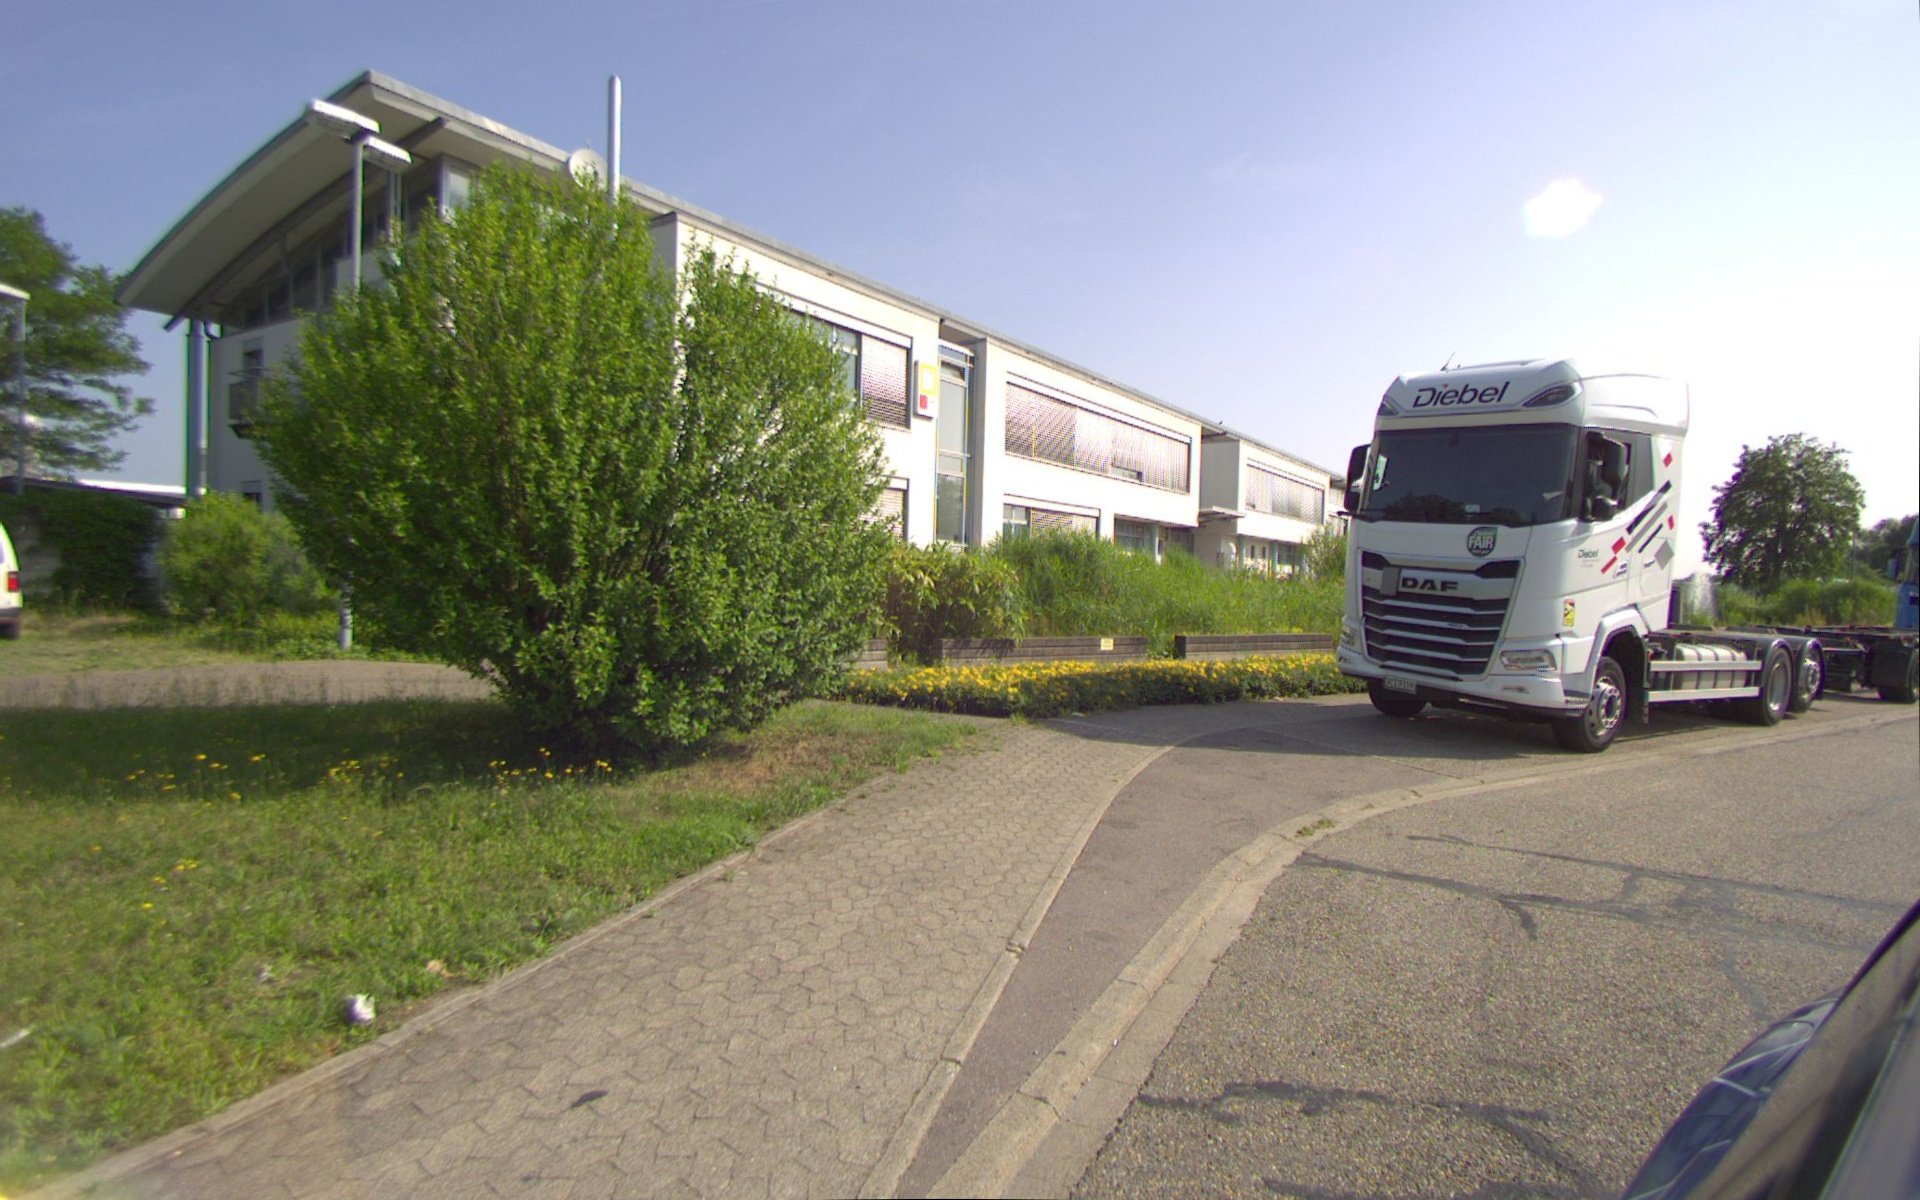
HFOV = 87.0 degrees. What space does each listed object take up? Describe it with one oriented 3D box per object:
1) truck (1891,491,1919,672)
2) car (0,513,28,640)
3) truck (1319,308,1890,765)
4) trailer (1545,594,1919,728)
[{"bbox_3d":[26.114,-0.332,24.481,10.376,3.988,3.047,1,1,-35],"label":"truck"},{"bbox_3d":[-15.286,-0.384,14.890,3.893,1.772,1.729,2,1,38],"label":"car"},{"bbox_3d":[8.210,-0.629,12.360,8.416,4.029,2.563,0,3,-34],"label":"truck"},{"bbox_3d":[14.545,0.704,16.788,13.864,1.408,2.557,0,4,-34],"label":"trailer"}]
